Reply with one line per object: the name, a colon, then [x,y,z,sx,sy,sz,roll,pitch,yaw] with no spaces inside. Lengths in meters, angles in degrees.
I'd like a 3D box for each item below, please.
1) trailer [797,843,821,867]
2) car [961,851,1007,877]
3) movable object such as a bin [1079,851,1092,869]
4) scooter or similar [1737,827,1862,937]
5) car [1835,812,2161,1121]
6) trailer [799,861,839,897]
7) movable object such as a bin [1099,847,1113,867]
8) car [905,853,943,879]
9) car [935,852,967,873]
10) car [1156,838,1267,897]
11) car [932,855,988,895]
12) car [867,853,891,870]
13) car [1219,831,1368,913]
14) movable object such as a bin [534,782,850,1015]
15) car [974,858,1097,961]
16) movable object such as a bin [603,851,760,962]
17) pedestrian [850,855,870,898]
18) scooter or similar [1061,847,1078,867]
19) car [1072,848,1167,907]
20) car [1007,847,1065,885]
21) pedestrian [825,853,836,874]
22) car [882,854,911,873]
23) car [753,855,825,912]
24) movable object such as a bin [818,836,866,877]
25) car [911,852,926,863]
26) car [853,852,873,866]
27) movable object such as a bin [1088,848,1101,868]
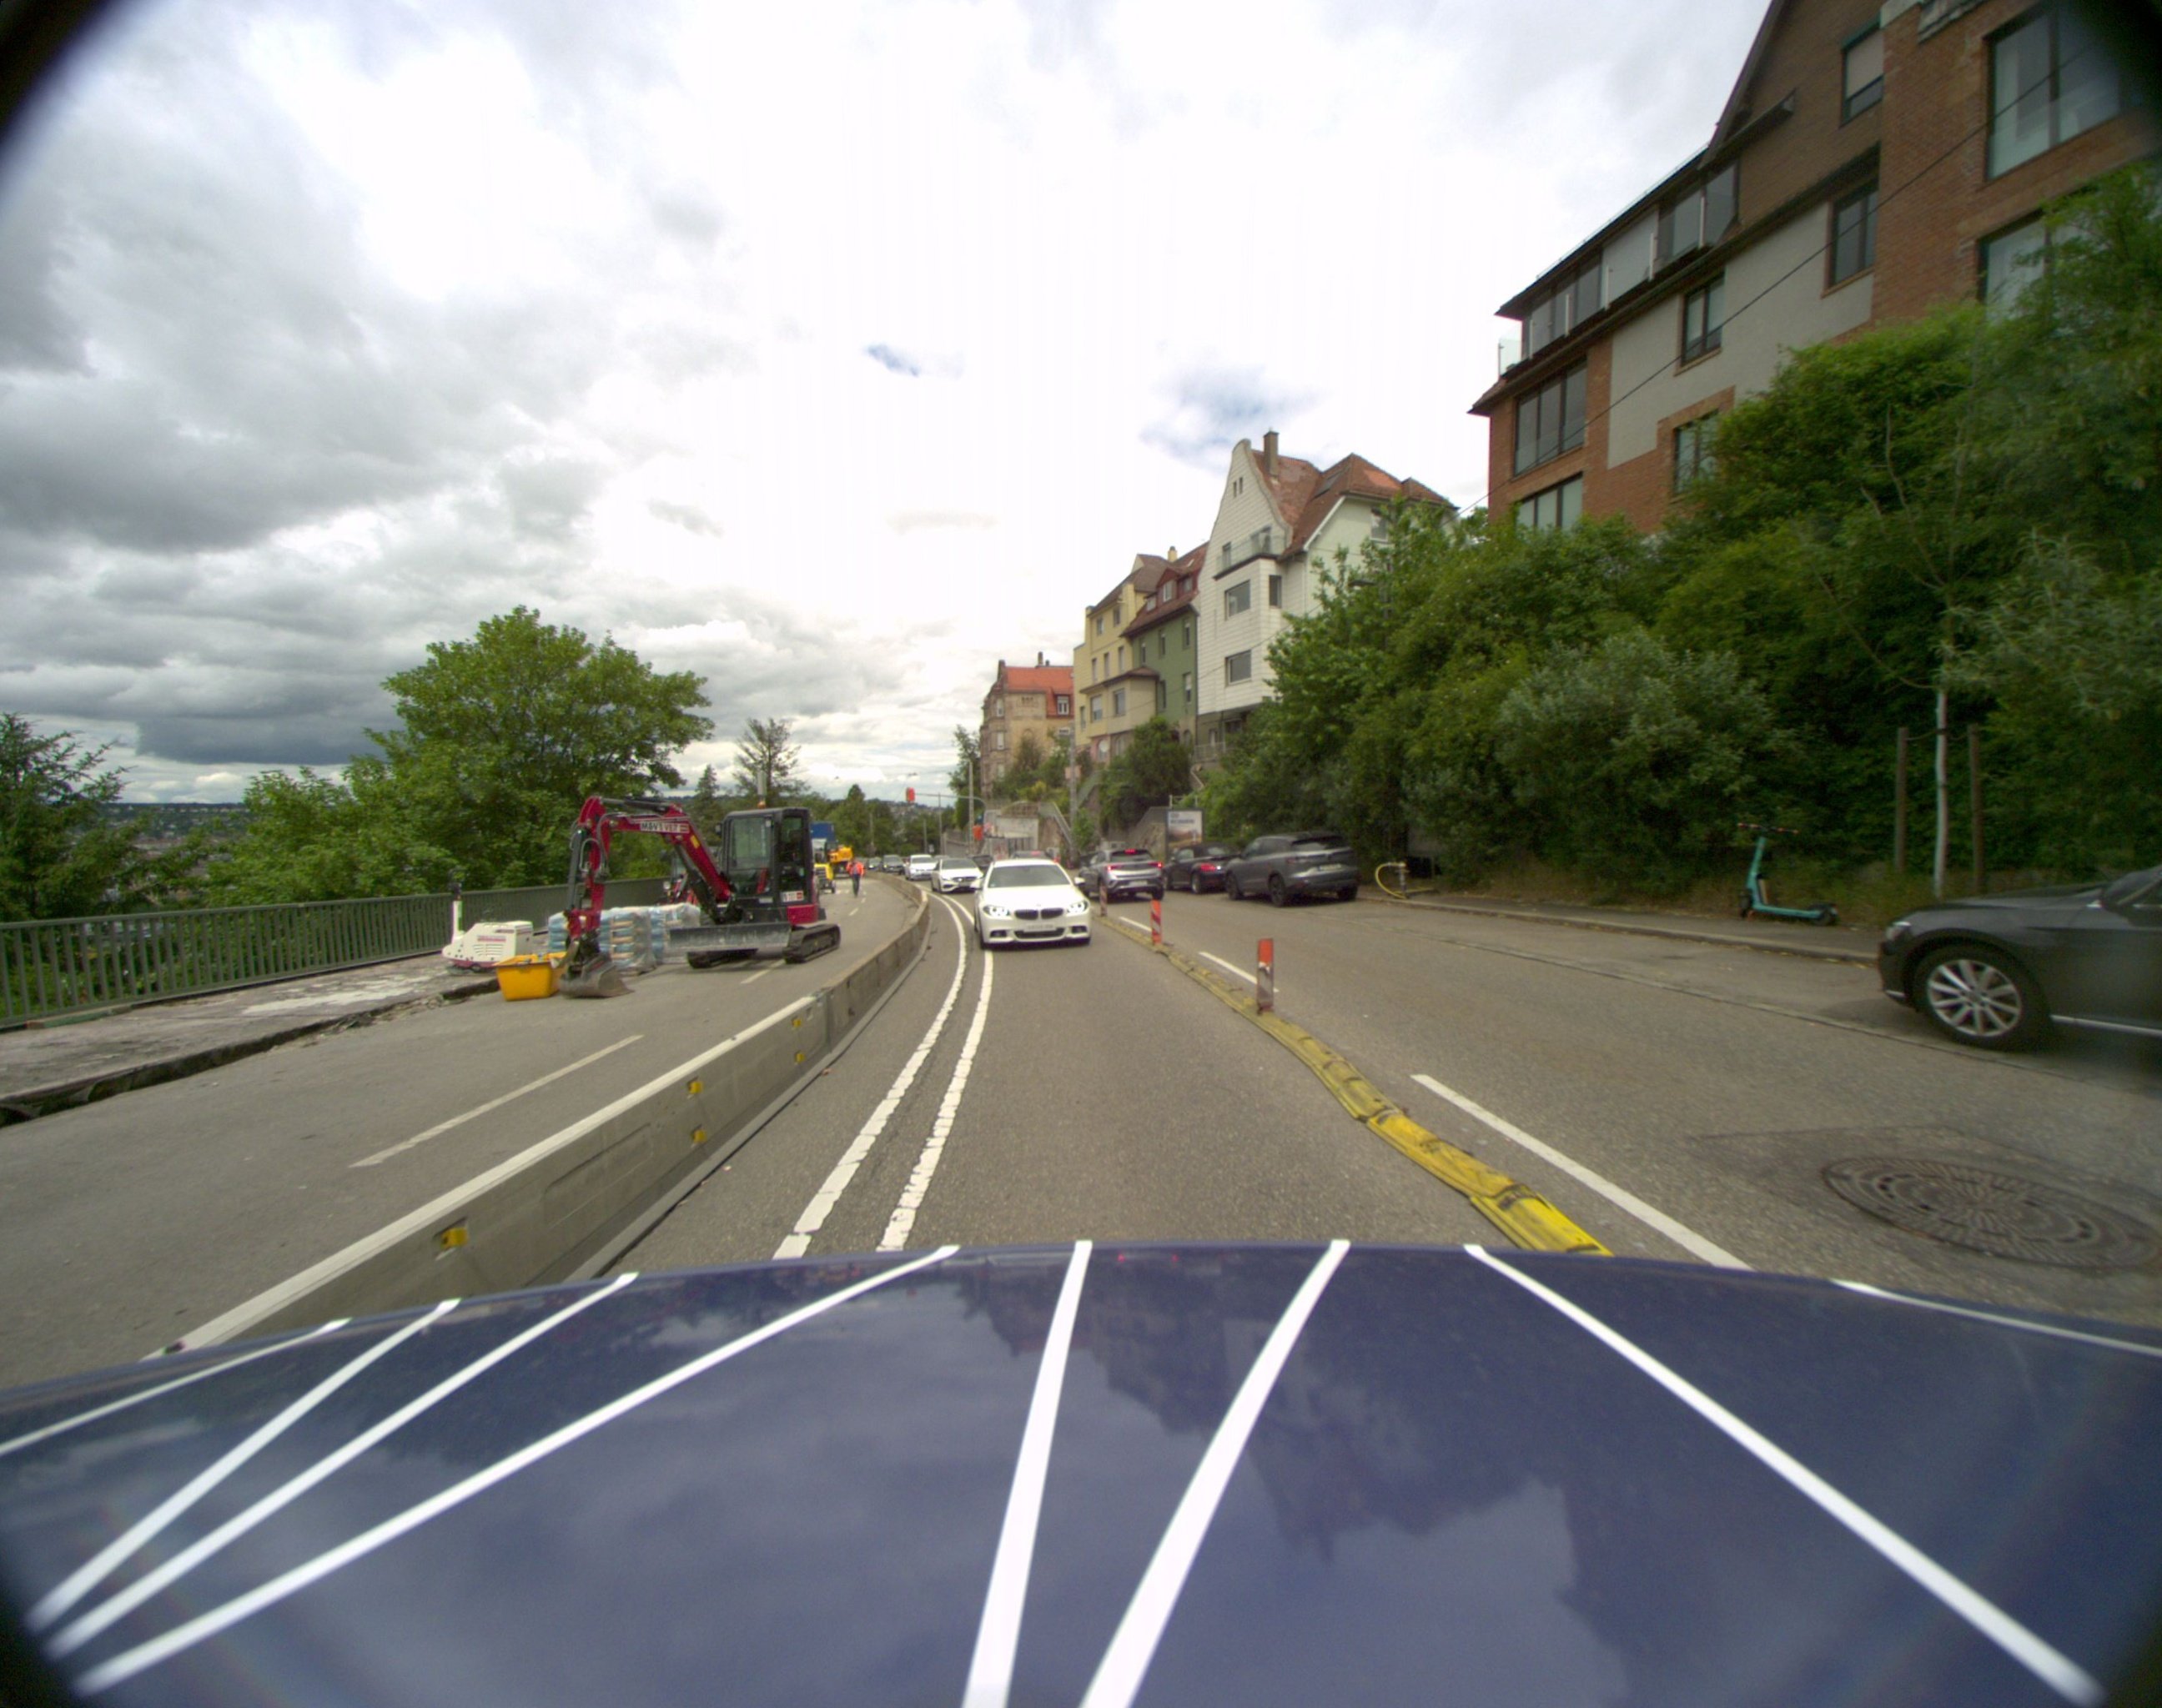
trailer: [-29.525,0.083,82.550,2.115,2.535,5.111,0,0,-16]
car: [-6.234,0.601,48.426,1.803,1.438,4.354,-3,2,-21]
movable object such as a bin: [0.244,0.315,41.198,0.469,0.929,0.623,-5,2,-20]
scooter or similar: [8.551,0.313,9.085,0.350,1.206,1.045,-5,1,-9]
car: [6.247,0.555,3.004,1.740,1.443,4.682,-5,1,-1]
trailer: [-11.979,1.087,34.888,1.293,1.466,3.629,-3,1,-13]
movable object such as a bin: [1.356,0.176,41.581,0.469,1.048,0.623,-5,2,-20]
car: [-9.820,0.730,47.309,1.795,1.542,4.238,-2,0,-18]
car: [-10.443,0.635,60.809,1.802,1.474,4.321,-4,2,-18]
car: [3.884,0.354,23.301,1.800,1.502,3.995,-5,2,-14]
car: [-5.126,0.821,31.823,1.794,1.472,4.239,-3,1,-16]
car: [-19.557,0.717,73.349,1.802,1.501,3.992,0,1,-21]
car: [4.875,0.355,18.091,1.692,1.597,4.182,-5,2,-10]
movable object such as a bin: [-5.333,0.500,11.461,2.218,2.647,4.943,-3,1,-2]
car: [-1.000,0.870,13.992,1.793,1.472,4.241,-3,1,-9]
movable object such as a bin: [-8.165,0.943,15.979,1.707,1.931,4.160,-3,1,-11]
pedestrian: [-9.013,0.889,30.942,0.648,1.692,0.849,-4,2,-19]
scooter or similar: [-0.727,0.180,46.778,0.461,1.198,1.432,-5,2,-22]
car: [1.042,0.624,22.687,1.773,1.509,4.021,-3,1,-12]
car: [-2.132,0.520,34.777,1.774,1.559,4.224,-3,1,-14]
pedestrian: [-21.798,0.850,66.091,0.692,1.784,0.538,-3,1,-32]
car: [-15.063,0.760,61.965,1.802,1.501,3.992,0,1,-22]
car: [-10.271,0.973,27.011,1.839,1.769,4.262,-3,1,-15]
movable object such as a bin: [-19.820,0.207,62.747,2.823,3.053,7.808,-3,1,-23]
car: [-25.002,0.481,116.881,1.847,1.590,4.260,-2,1,-8]
car: [-25.623,0.586,89.240,1.802,1.501,3.992,0,1,-21]
movable object such as a bin: [0.727,0.233,41.351,0.469,1.048,0.623,-5,2,-20]
